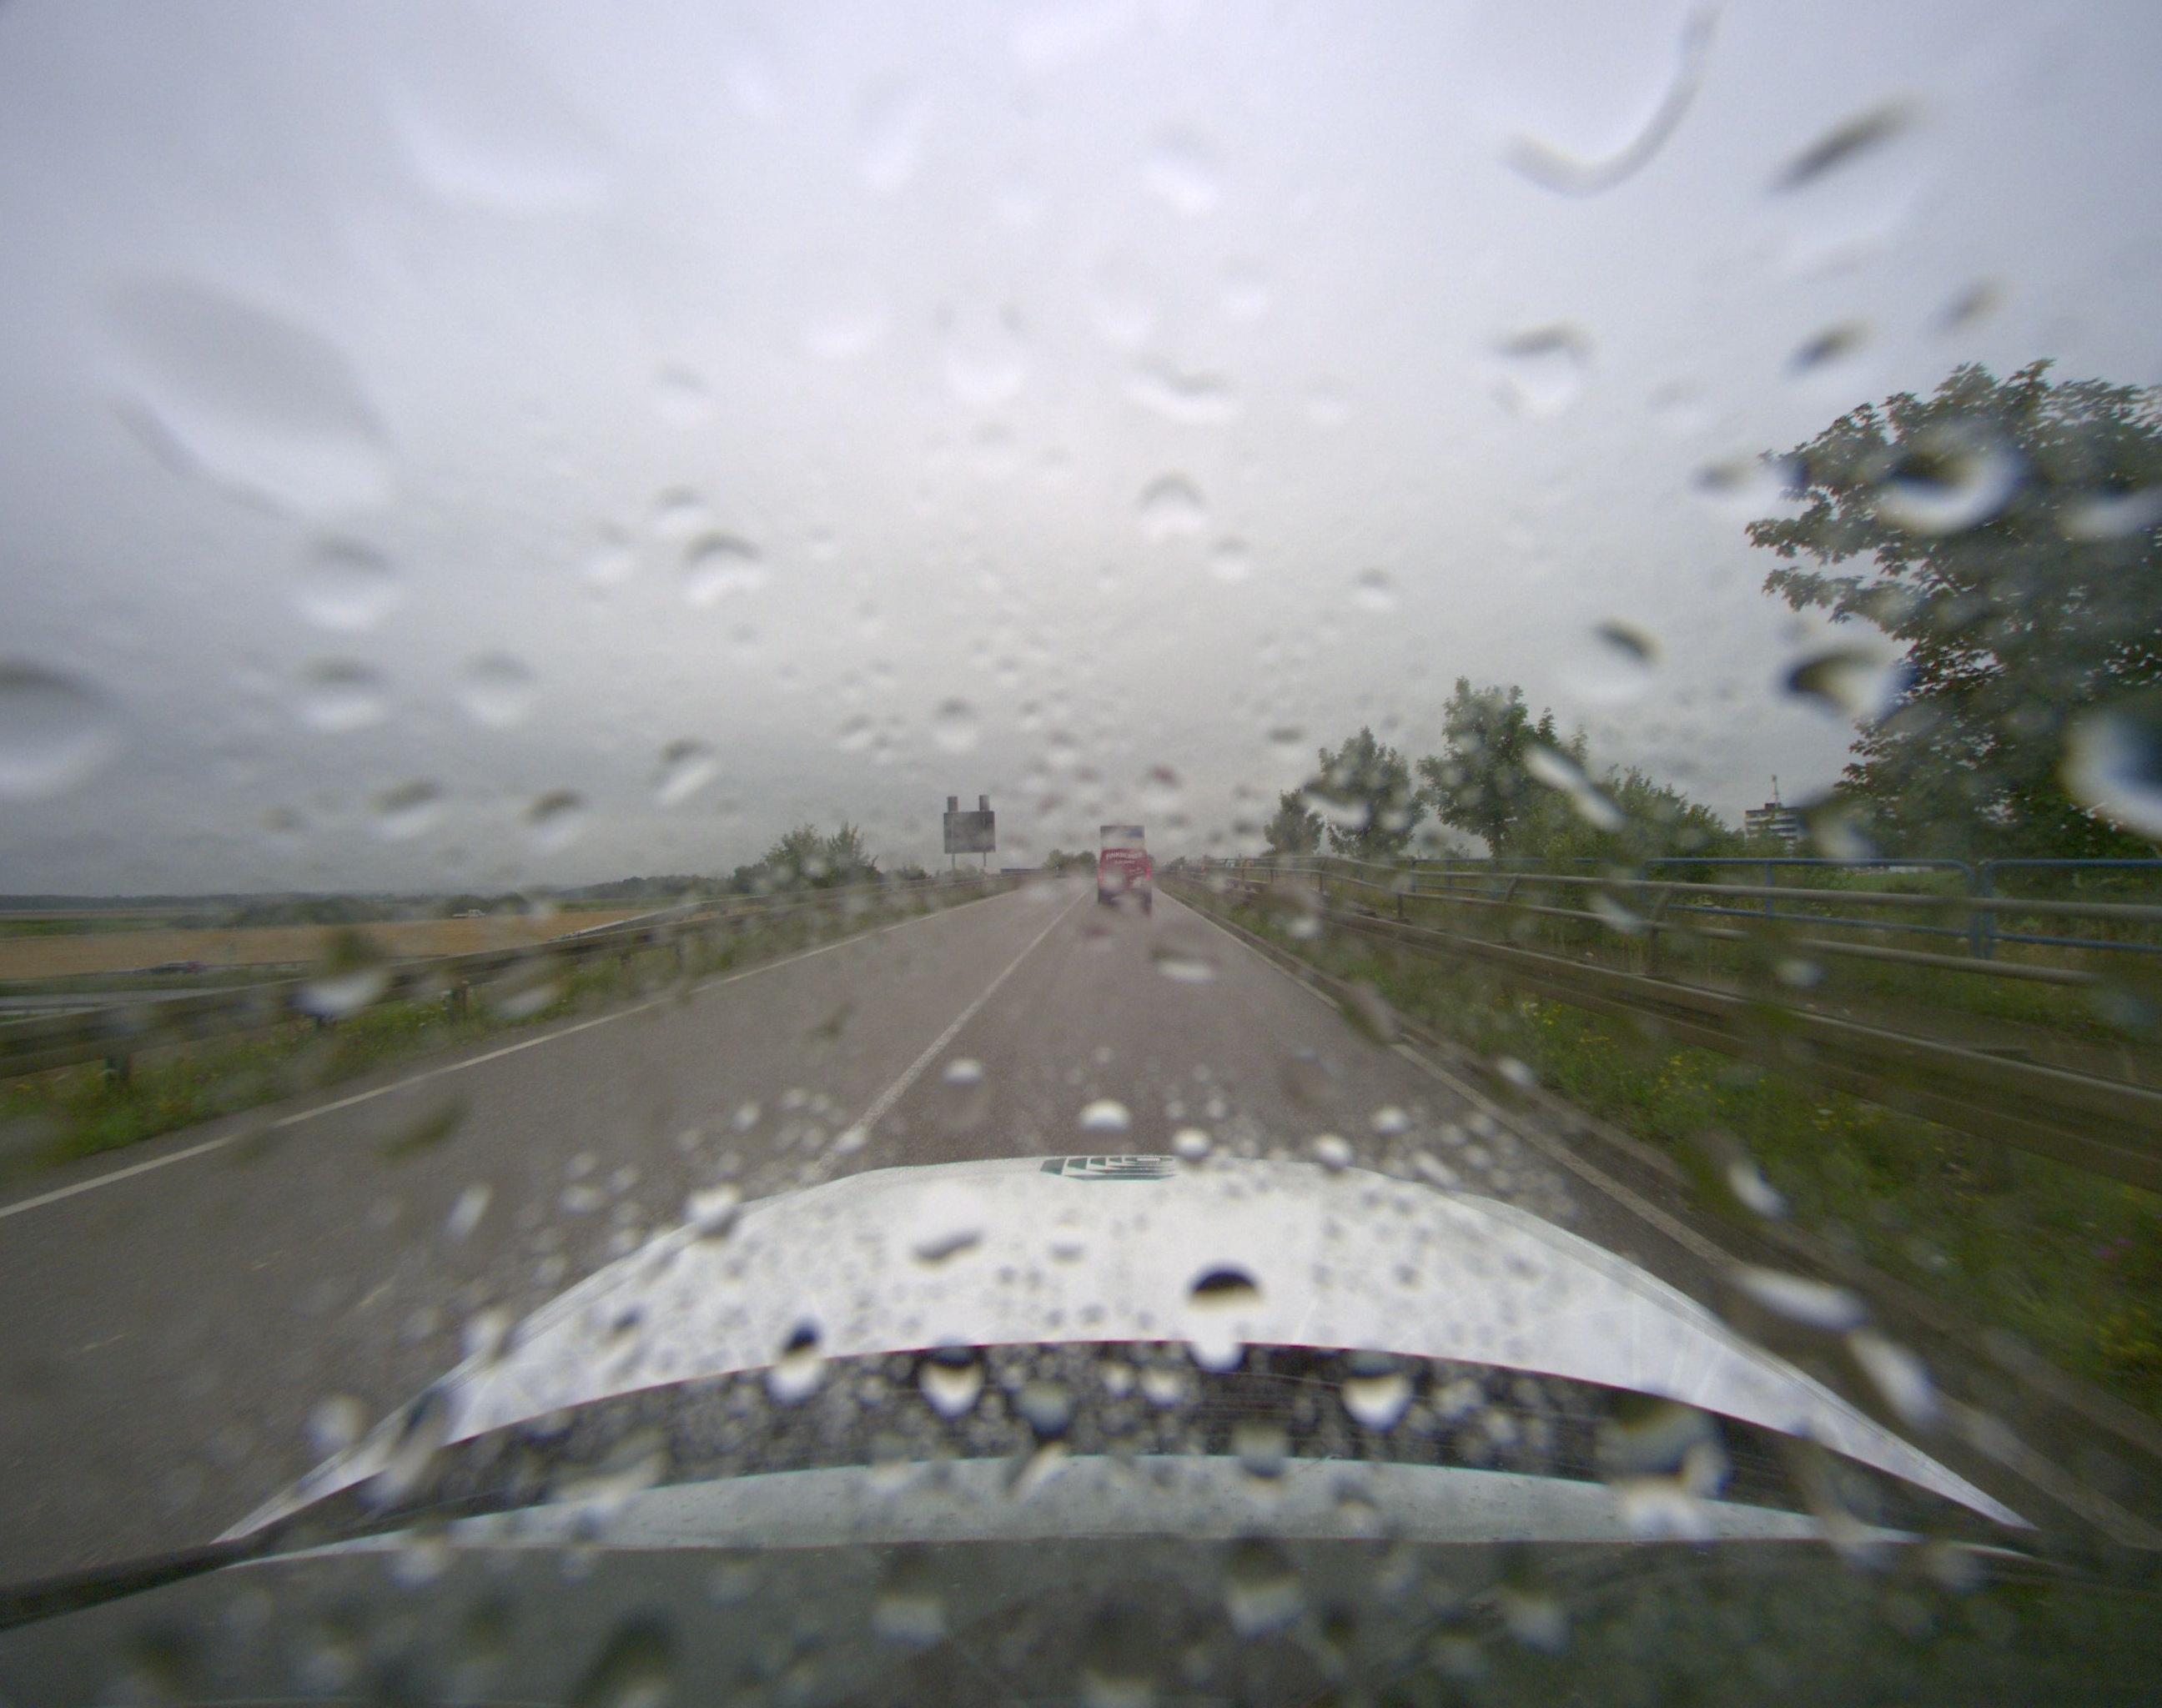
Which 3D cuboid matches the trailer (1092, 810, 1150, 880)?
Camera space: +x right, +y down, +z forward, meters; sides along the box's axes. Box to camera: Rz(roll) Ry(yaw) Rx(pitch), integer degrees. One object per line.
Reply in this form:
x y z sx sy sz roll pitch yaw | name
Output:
2.559 -0.404 50.548 3.187 3.922 8.747 1 -1 4 | trailer

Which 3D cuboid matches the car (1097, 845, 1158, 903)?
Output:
1.606 0.667 28.955 1.986 1.926 4.145 0 0 2 | car
